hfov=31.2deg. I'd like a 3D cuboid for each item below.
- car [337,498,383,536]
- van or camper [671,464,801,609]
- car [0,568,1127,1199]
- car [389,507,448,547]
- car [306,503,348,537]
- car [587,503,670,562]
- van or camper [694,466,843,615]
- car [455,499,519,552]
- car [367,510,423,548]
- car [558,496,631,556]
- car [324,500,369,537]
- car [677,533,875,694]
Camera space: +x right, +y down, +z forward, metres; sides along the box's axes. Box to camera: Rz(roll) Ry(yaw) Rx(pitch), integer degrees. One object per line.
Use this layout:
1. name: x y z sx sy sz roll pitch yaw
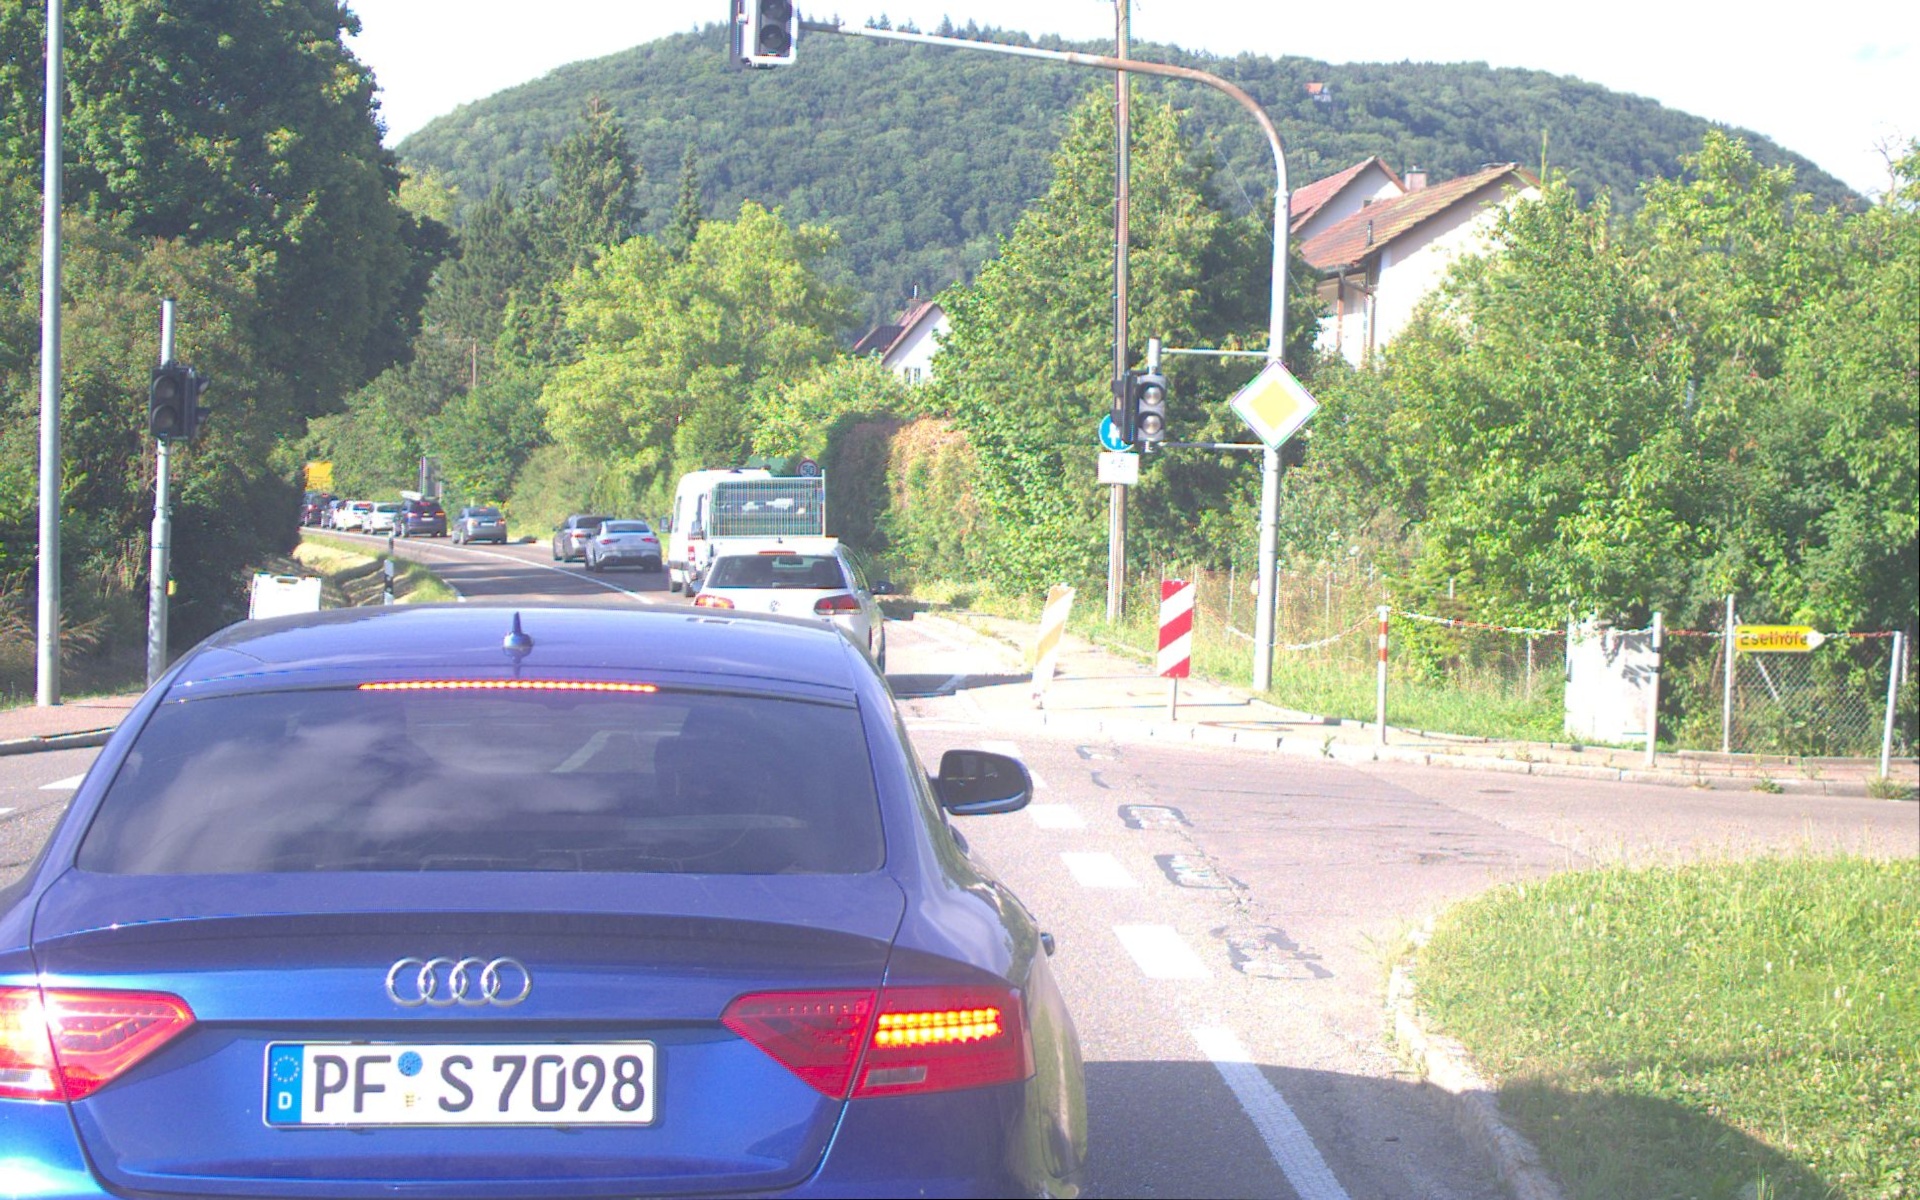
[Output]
1. car: -28.846 -4.004 165.195 1.748 1.776 4.001 -1 2 -16
2. van or camper: -4.743 -1.366 72.022 2.414 2.894 6.133 0 2 -6
3. car: -0.782 0.681 6.492 1.829 1.404 4.227 -1 1 -2
4. car: -23.326 -3.166 148.038 2.040 1.678 4.002 0 2 -16
5. car: -32.721 -4.139 177.656 1.771 1.776 4.001 -1 2 -16
6. car: -9.082 -1.866 93.881 1.819 1.546 4.001 0 2 -12
7. van or camper: -3.253 -1.027 57.455 2.179 2.377 5.371 0 2 -6
8. car: -18.268 -2.877 132.697 1.993 2.006 4.002 0 2 -15
9. car: -25.740 -3.236 156.615 1.941 1.678 4.001 -1 1 -17
10. car: -11.178 -2.273 104.903 1.796 1.787 4.001 -1 1 -12
11. car: -30.597 -4.066 171.311 1.771 1.776 4.001 -1 2 -16
12. car: -1.768 0.087 33.771 1.771 1.410 4.174 2 1 -2
